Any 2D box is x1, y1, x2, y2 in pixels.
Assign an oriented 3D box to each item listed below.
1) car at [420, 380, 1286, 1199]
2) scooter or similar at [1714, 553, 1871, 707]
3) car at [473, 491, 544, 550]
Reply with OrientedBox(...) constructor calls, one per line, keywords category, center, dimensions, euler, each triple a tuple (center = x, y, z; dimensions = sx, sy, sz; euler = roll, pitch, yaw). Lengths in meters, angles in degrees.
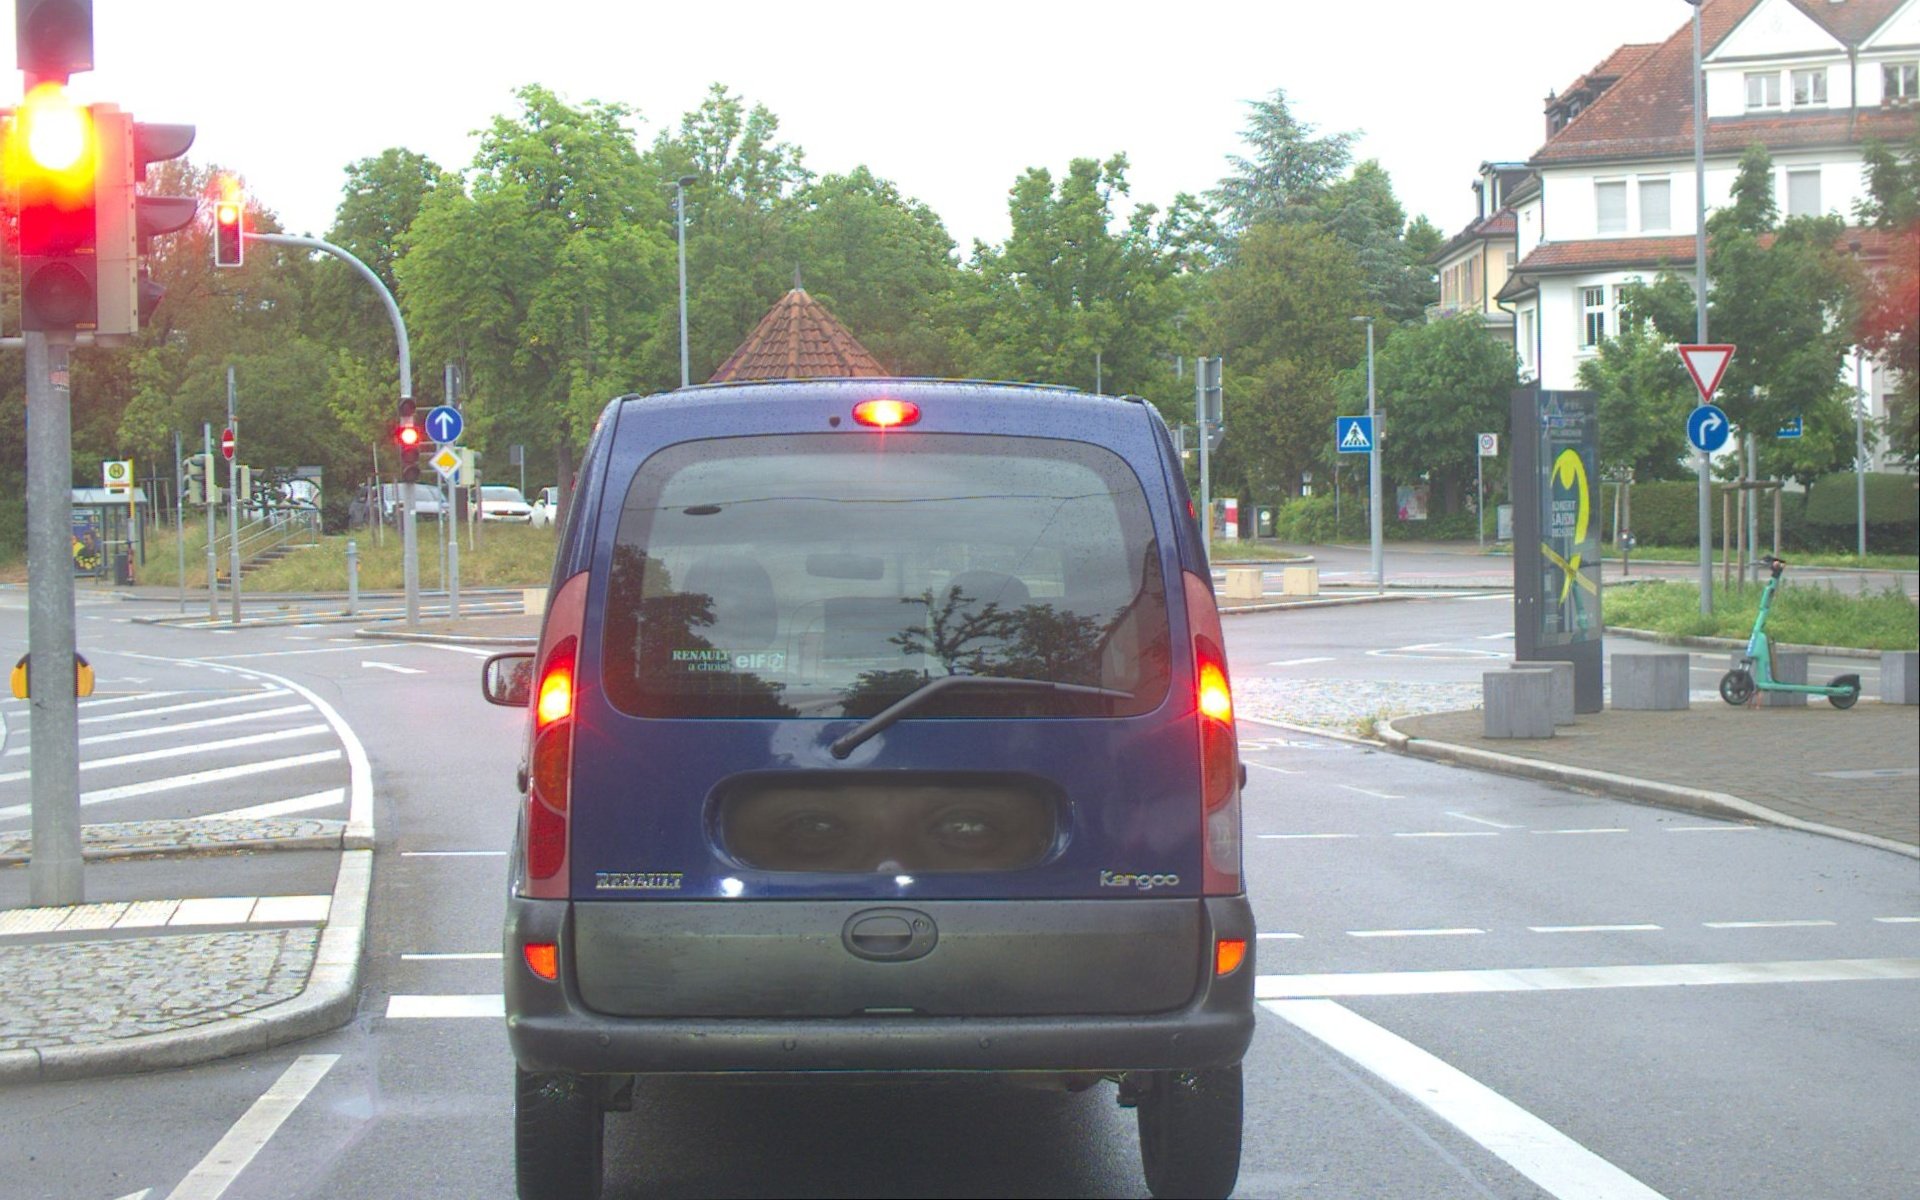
OrientedBox(category="car", center=(-0.294, 0.405, 8.895), dimensions=(1.731, 1.780, 4.001), euler=(0, 1, -2))
OrientedBox(category="scooter or similar", center=(6.720, 0.239, 27.766), dimensions=(1.149, 1.214, 0.406), euler=(-1, 0, -1))
OrientedBox(category="car", center=(-14.409, -2.537, 109.900), dimensions=(1.993, 1.806, 4.001), euler=(0, 0, -4))
